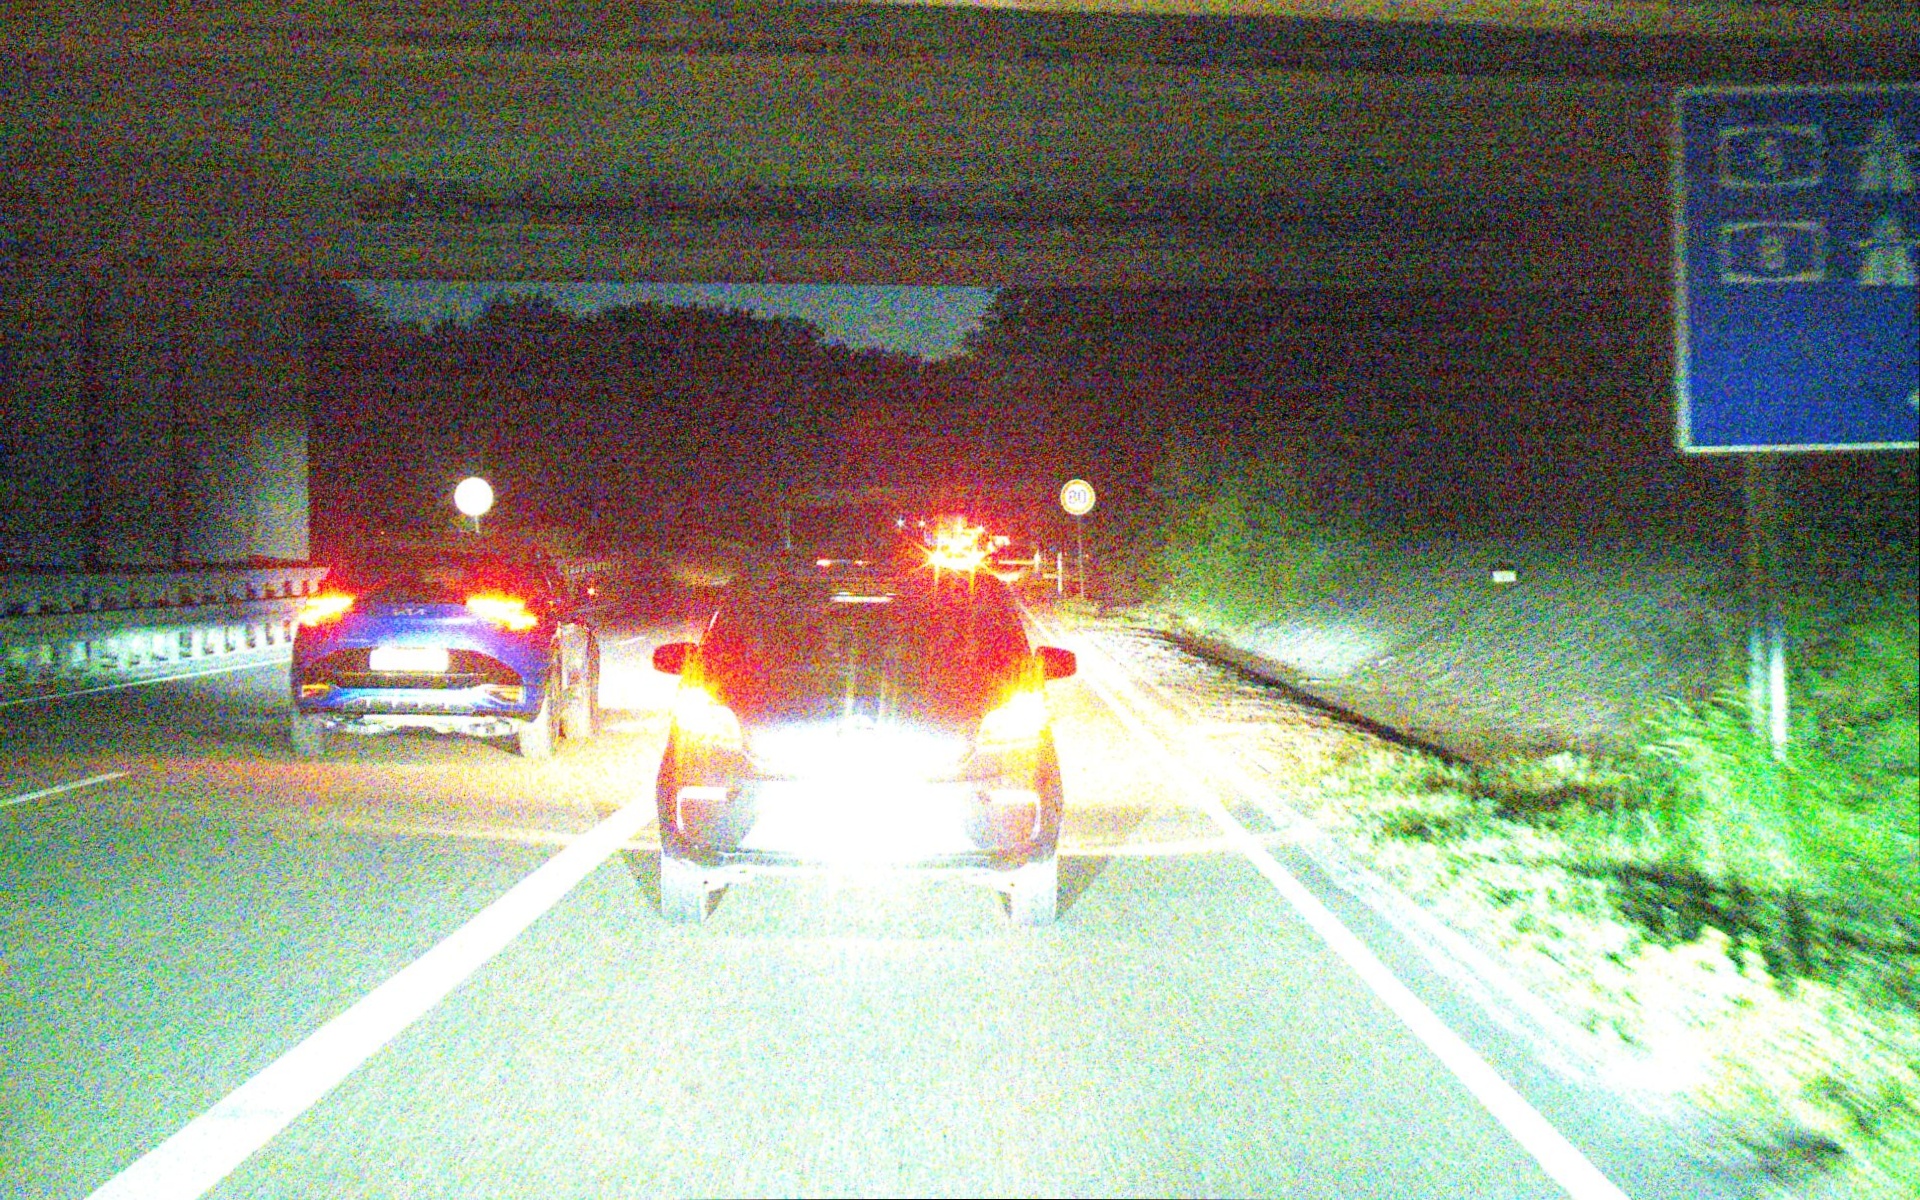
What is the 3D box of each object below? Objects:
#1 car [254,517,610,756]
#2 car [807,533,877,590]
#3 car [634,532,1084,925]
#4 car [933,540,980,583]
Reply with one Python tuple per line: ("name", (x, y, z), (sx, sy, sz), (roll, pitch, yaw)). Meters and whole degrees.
("car", (-3.852, 0.202, 25.842), (1.940, 1.603, 4.644), (1, 1, 0))
("car", (-3.612, -1.180, 105.937), (1.951, 1.533, 4.241), (-4, -1, -1))
("car", (-0.523, 0.469, 15.167), (1.691, 1.473, 4.001), (1, 1, -4))
("car", (-0.148, -1.476, 132.346), (1.733, 1.612, 3.799), (1, 1, -1))
